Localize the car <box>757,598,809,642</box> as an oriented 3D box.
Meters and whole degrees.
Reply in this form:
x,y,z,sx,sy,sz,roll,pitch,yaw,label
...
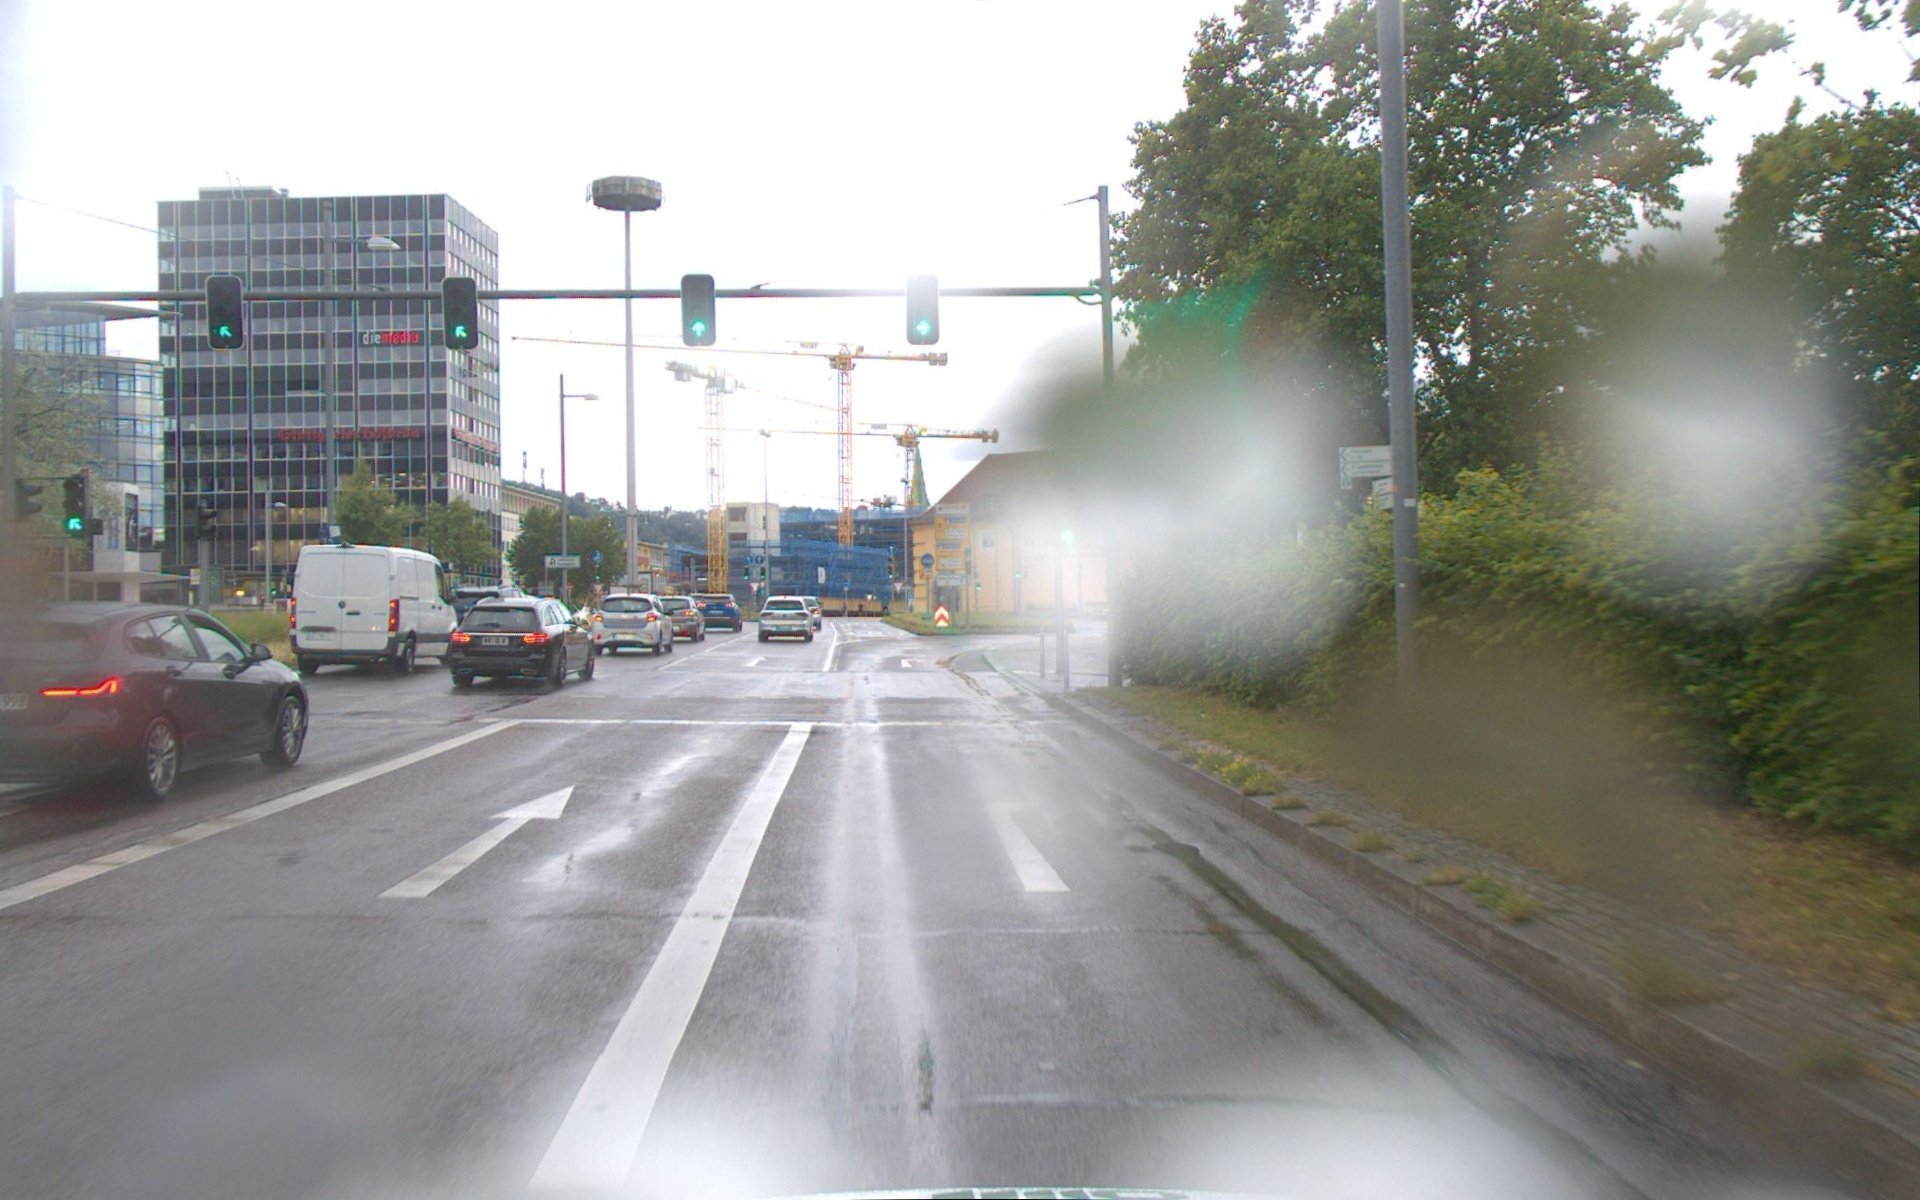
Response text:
x,y,z,sx,sy,sz,roll,pitch,yaw,label
-5.701,0.639,53.439,1.415,1.383,2.412,0,-1,0,car

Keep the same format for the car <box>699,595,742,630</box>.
x,y,z,sx,sy,sz,roll,pitch,yaw,label
-9.693,0.534,67.098,1.463,1.393,3.031,0,-1,-3,car

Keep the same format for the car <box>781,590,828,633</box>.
x,y,z,sx,sy,sz,roll,pitch,yaw,label
-6.951,0.502,74.025,1.632,1.772,3.289,1,2,3,car

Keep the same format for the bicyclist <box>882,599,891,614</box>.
x,y,z,sx,sy,sz,roll,pitch,yaw,label
-6.479,0.578,146.291,0.693,1.298,0.631,0,-1,-19,bicyclist

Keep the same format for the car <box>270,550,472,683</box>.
x,y,z,sx,sy,sz,roll,pitch,yaw,label
-11.189,0.326,31.851,2.246,2.355,5.003,0,-1,-2,car

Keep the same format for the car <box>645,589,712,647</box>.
x,y,z,sx,sy,sz,roll,pitch,yaw,label
-8.936,0.580,52.655,1.682,1.758,3.492,0,-1,-3,car

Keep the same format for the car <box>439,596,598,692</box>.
x,y,z,sx,sy,sz,roll,pitch,yaw,label
-7.358,0.727,27.891,1.792,1.521,3.398,0,-1,-1,car

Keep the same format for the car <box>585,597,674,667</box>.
x,y,z,sx,sy,sz,roll,pitch,yaw,label
-8.290,0.807,41.774,1.844,1.682,3.453,0,-1,-5,car

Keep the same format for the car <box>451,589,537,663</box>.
x,y,z,sx,sy,sz,roll,pitch,yaw,label
-11.399,0.634,40.628,1.435,1.736,3.138,0,-1,-5,car

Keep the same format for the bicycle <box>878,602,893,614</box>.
x,y,z,sx,sy,sz,roll,pitch,yaw,label
-6.636,0.735,146.560,0.867,1.027,1.982,0,-1,-18,bicycle

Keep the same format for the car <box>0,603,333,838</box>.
x,y,z,sx,sy,sz,roll,pitch,yaw,label
-6.605,0.817,13.218,1.718,1.497,4.221,0,1,-2,car
